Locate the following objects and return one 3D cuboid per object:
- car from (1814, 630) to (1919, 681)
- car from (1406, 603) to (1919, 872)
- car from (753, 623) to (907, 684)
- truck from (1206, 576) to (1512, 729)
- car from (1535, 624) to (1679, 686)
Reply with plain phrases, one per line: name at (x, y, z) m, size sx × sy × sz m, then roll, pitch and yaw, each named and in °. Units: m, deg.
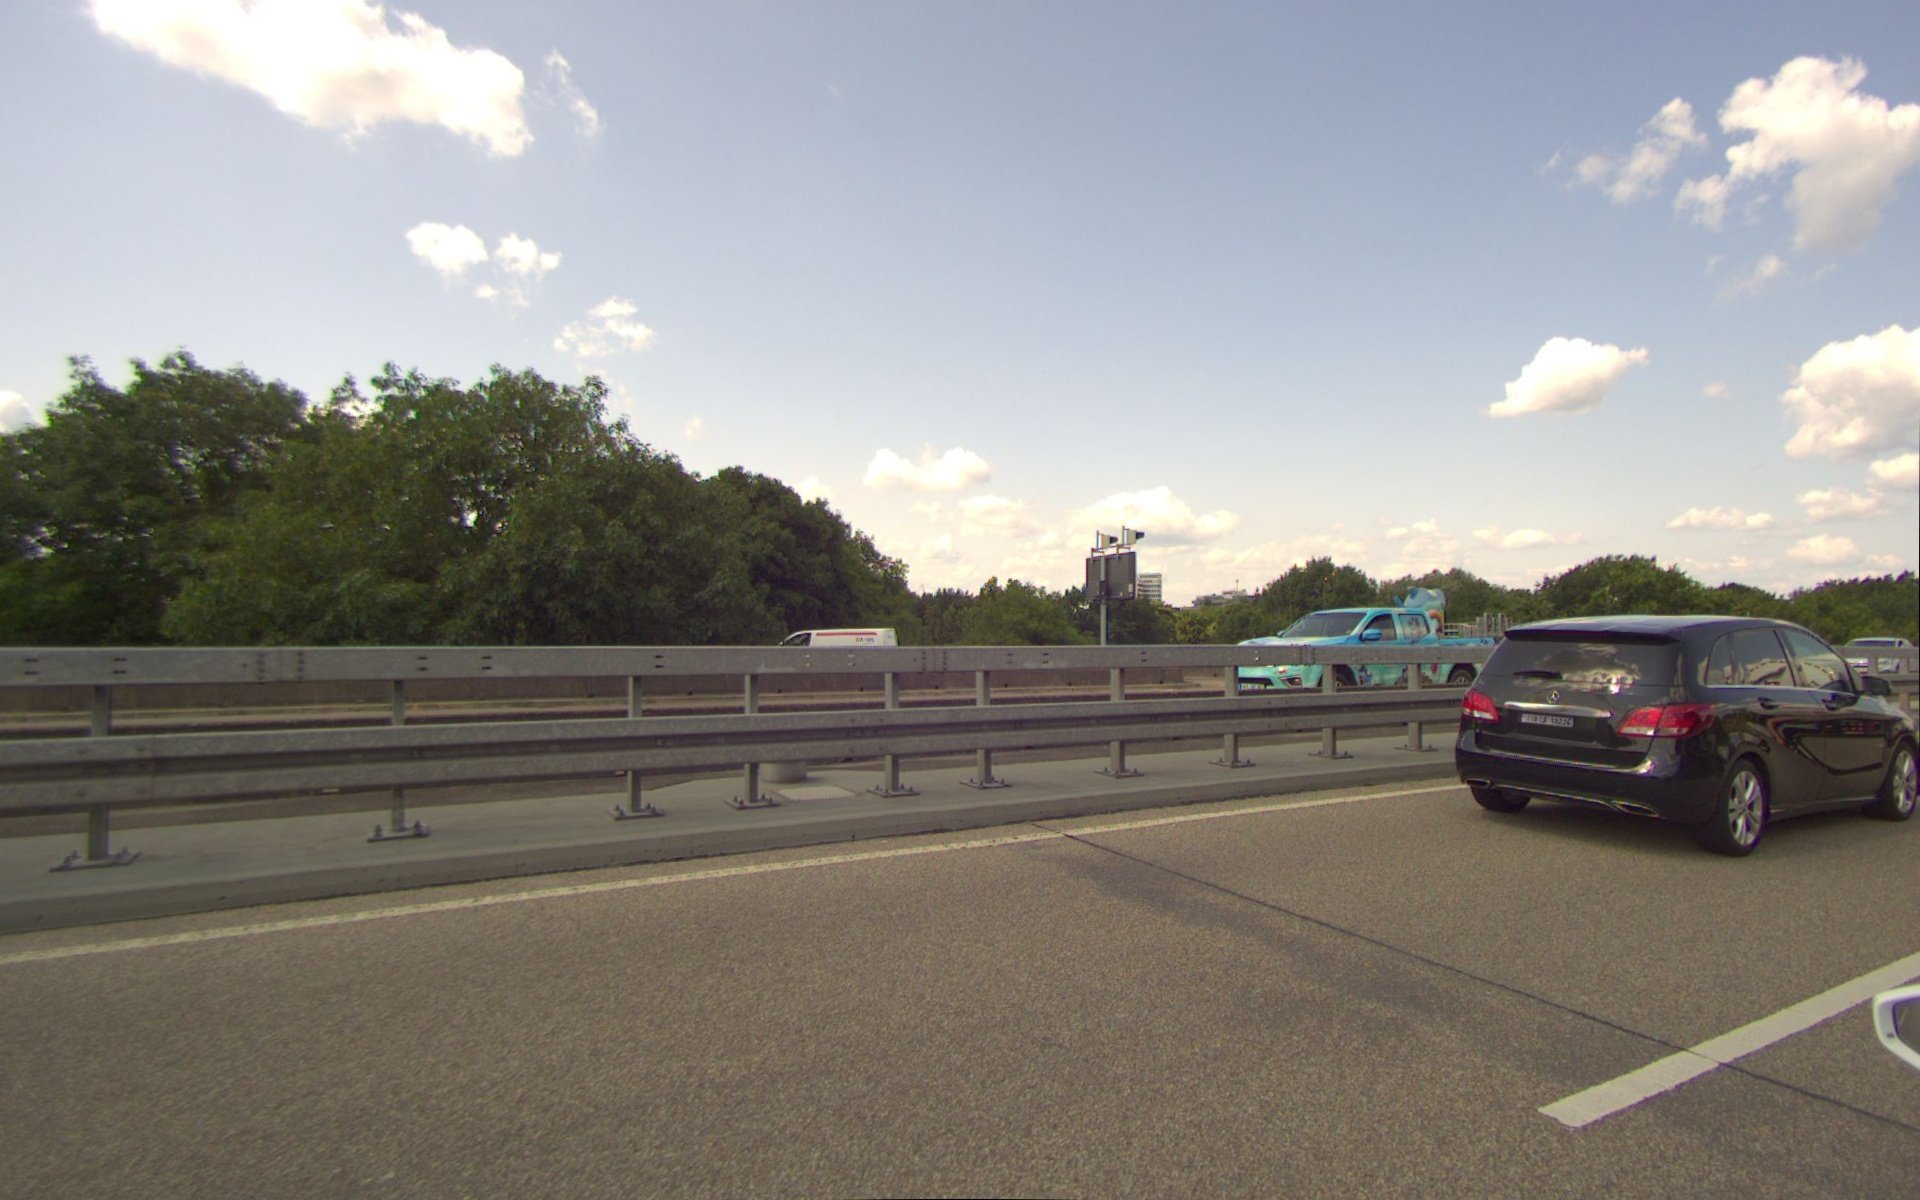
car at (30.424, 1.810, 33.447) m, size 4.197 × 1.549 × 1.891 m, roll 1°, pitch 0°, yaw -33°
car at (5.657, 0.858, 7.773) m, size 4.539 × 1.548 × 1.703 m, roll 1°, pitch 0°, yaw -30°
car at (-4.620, 1.887, 35.950) m, size 5.063 × 1.923 × 2.001 m, roll 1°, pitch 0°, yaw 9°
truck at (6.653, 0.804, 16.595) m, size 5.125 × 2.216 × 1.864 m, roll 1°, pitch 0°, yaw -29°
car at (18.457, 1.524, 28.638) m, size 3.905 × 1.602 × 1.821 m, roll 1°, pitch 0°, yaw -29°
